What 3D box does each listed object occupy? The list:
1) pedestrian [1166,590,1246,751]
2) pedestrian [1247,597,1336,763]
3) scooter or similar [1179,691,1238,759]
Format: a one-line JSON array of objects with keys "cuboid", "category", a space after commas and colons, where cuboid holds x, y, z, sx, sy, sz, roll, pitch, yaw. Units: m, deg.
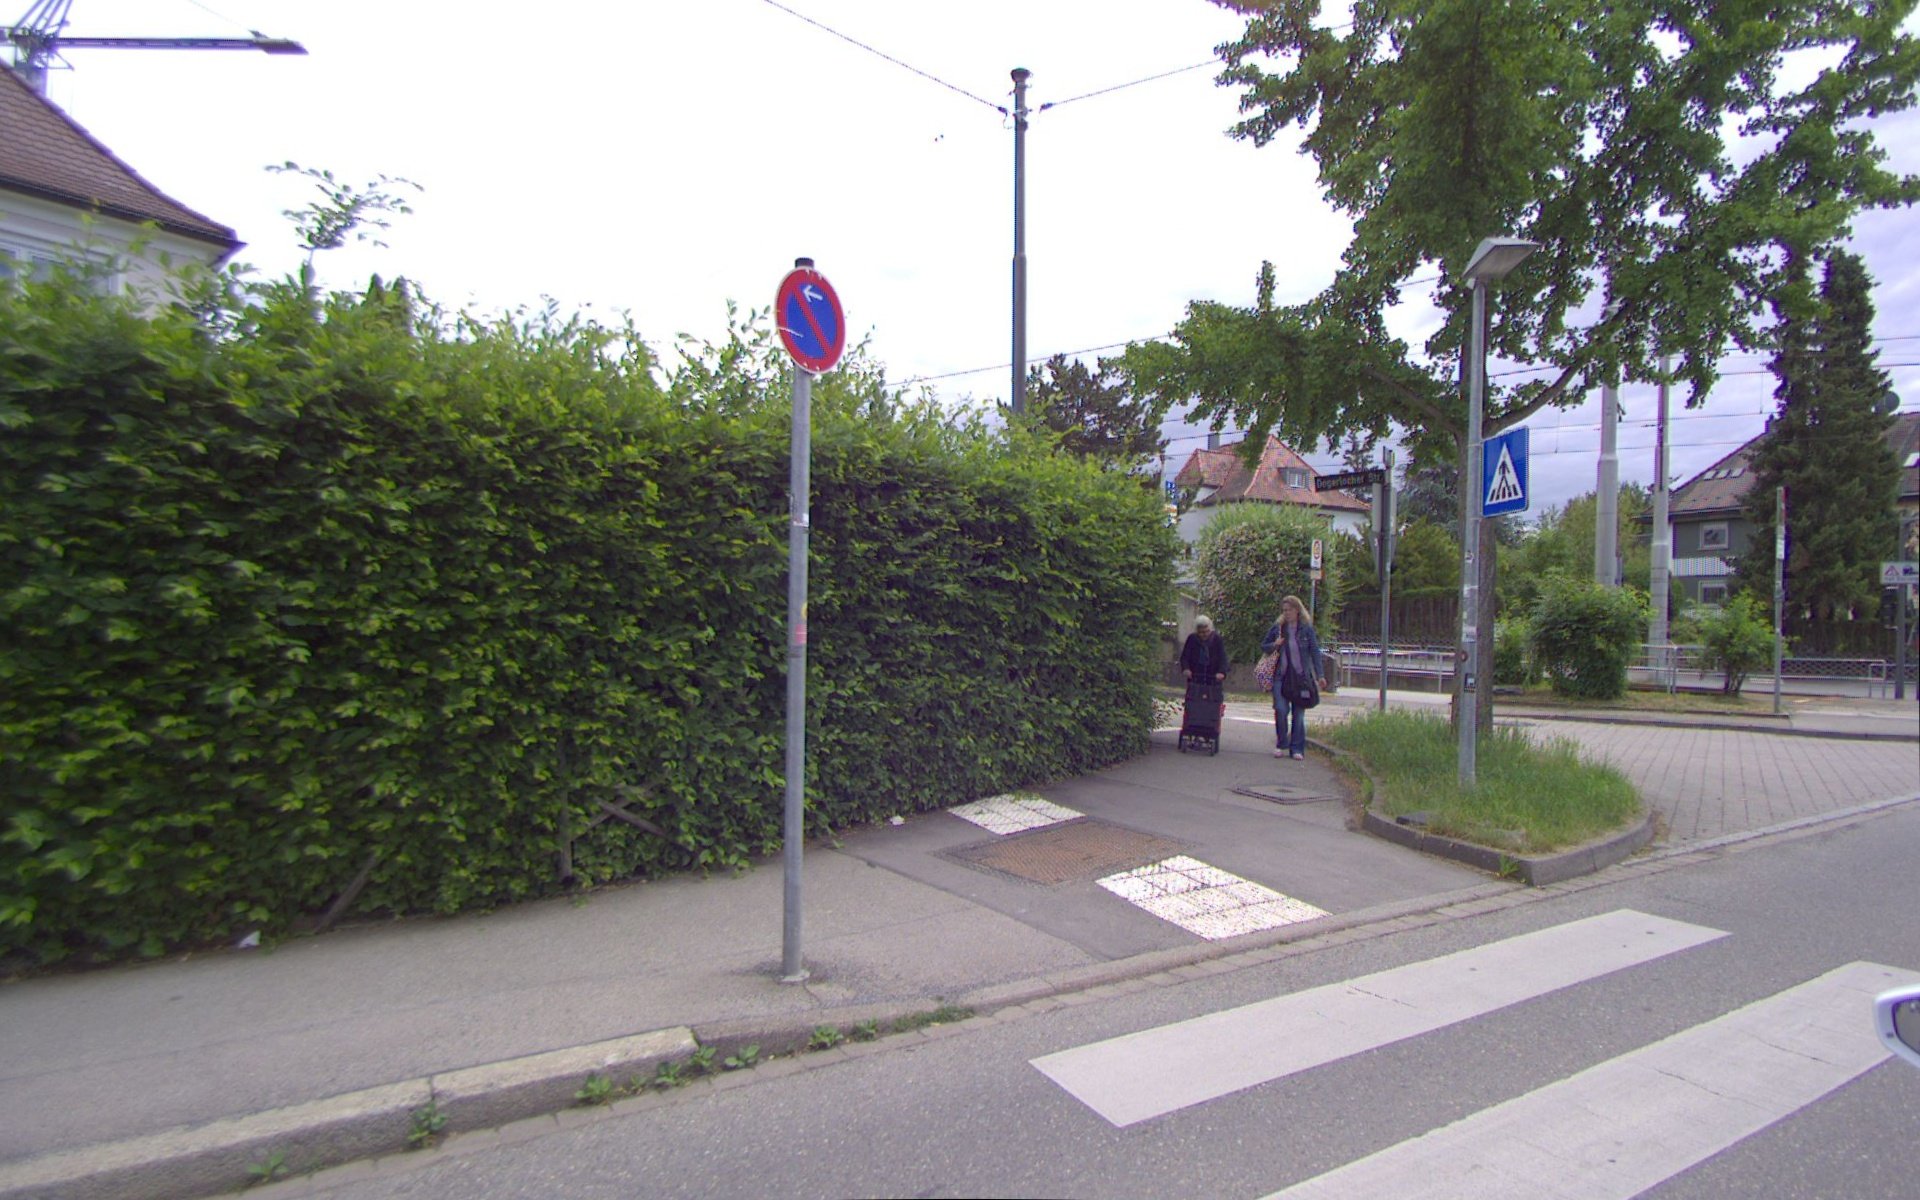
[{"cuboid": [2.624, 0.731, 10.757, 0.664, 1.641, 0.598, 2, 2, 2], "category": "pedestrian"}, {"cuboid": [3.424, 0.806, 10.410, 0.664, 1.641, 0.598, 2, 2, 2], "category": "pedestrian"}, {"cuboid": [2.534, 1.272, 10.270, 0.479, 0.618, 0.400, 3, 2, 2], "category": "scooter or similar"}]
